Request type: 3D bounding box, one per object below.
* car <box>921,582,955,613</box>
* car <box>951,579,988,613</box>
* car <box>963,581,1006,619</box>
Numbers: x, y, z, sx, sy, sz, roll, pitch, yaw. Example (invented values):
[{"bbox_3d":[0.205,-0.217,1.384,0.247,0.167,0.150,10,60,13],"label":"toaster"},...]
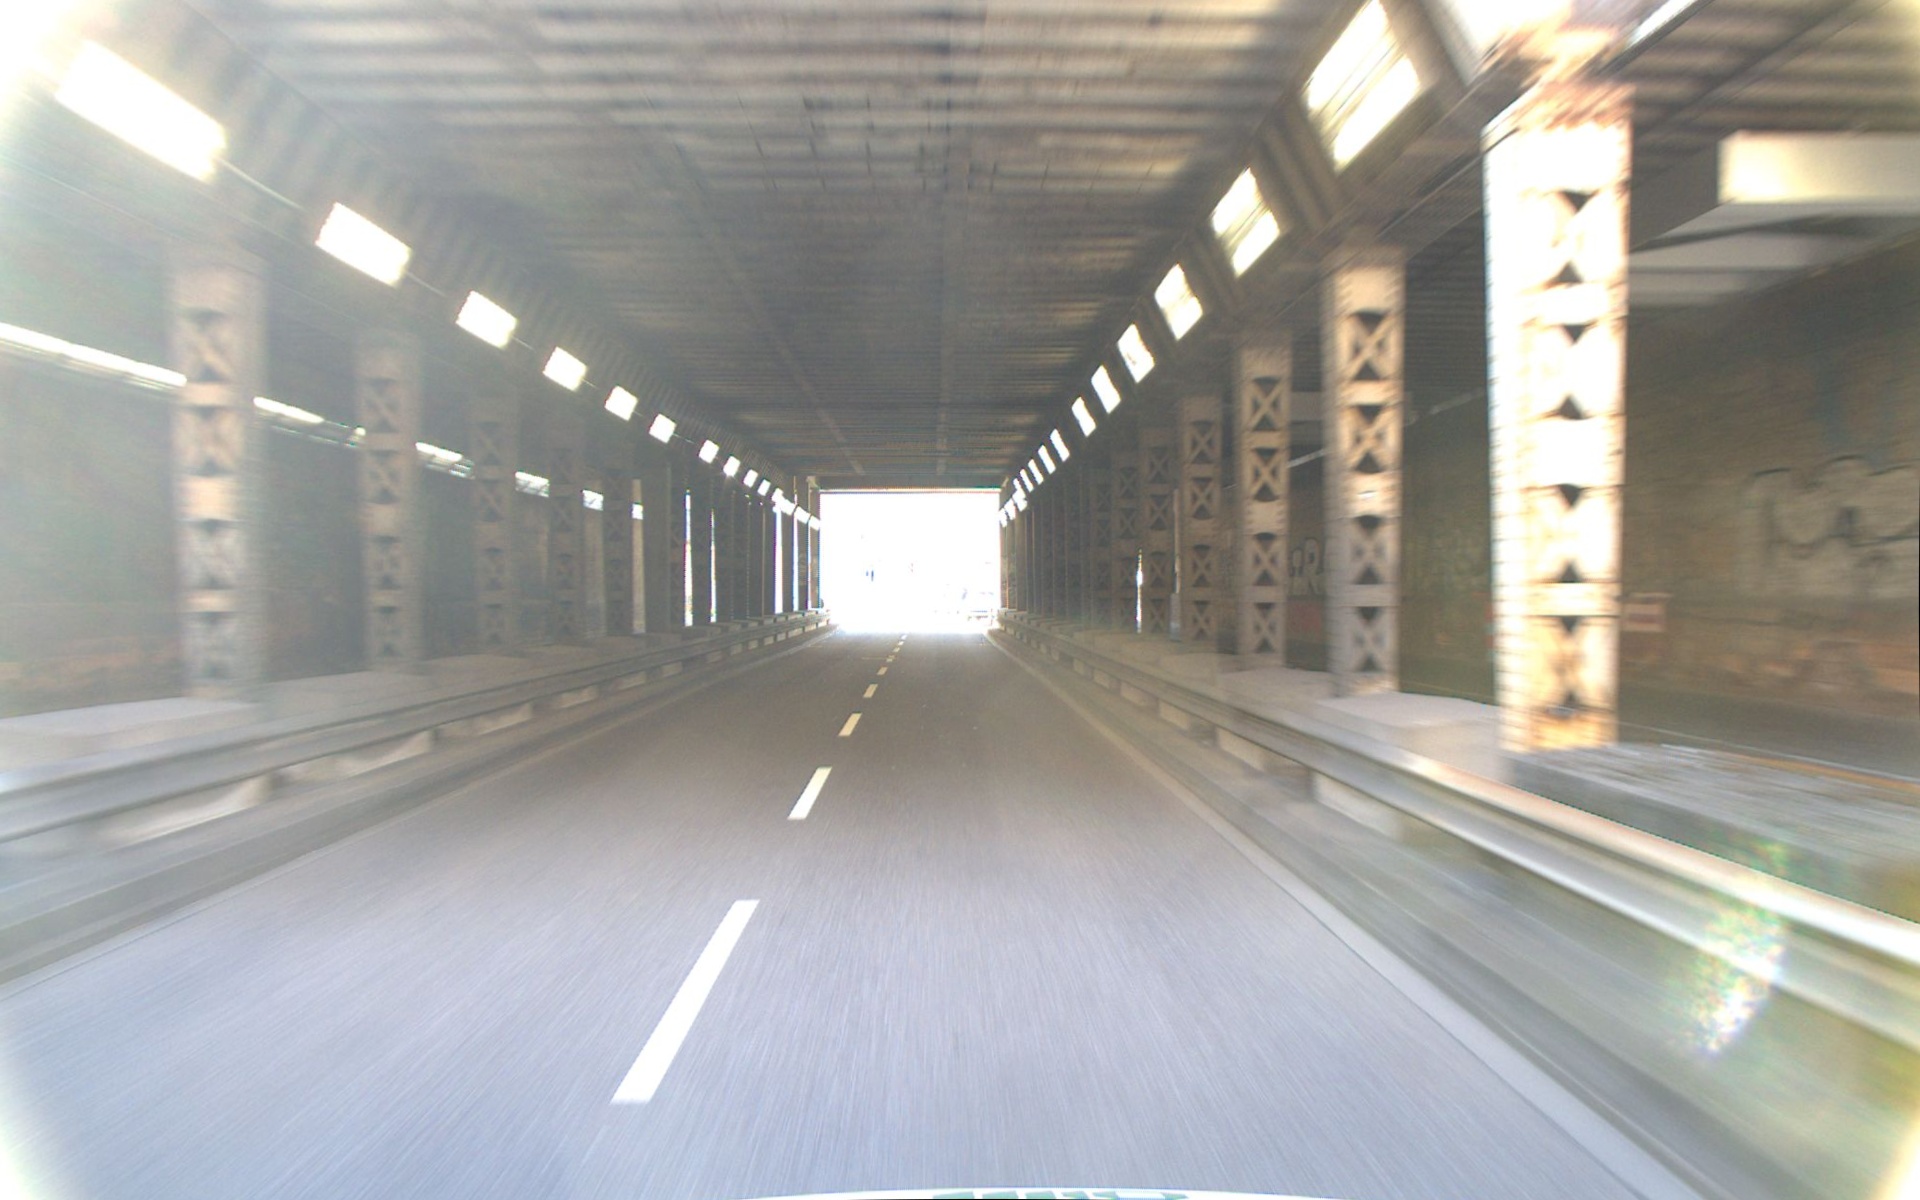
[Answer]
[{"bbox_3d":[-1.318,-0.138,99.529,1.953,1.815,3.999,-1,0,-1],"label":"car"},{"bbox_3d":[0.512,-0.231,92.720,1.953,1.815,3.999,-1,0,-1],"label":"car"},{"bbox_3d":[1.180,-0.014,80.372,1.953,1.815,3.999,-1,0,-1],"label":"car"}]
